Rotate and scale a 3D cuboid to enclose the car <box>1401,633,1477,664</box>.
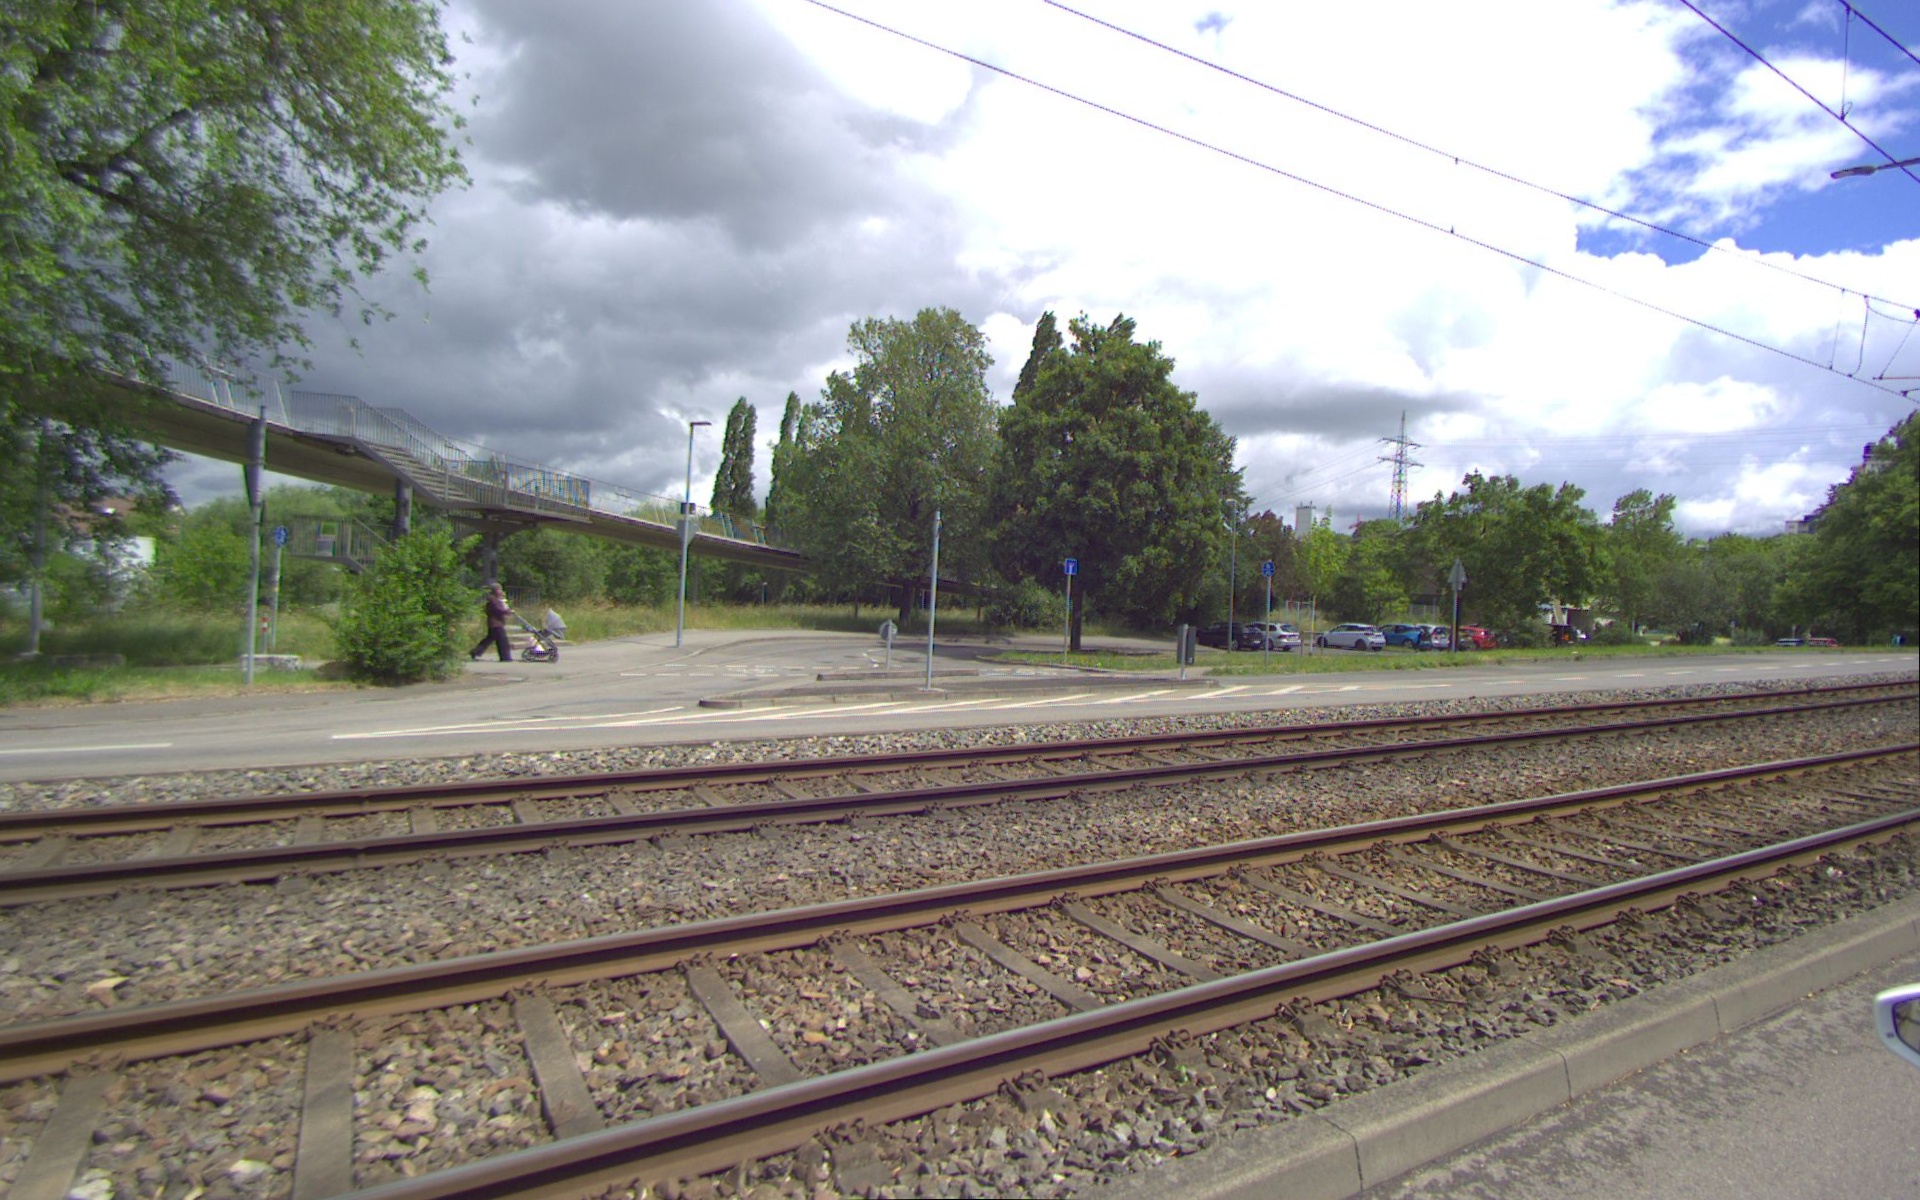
[{"bbox_3d":[30.227,3.035,63.501,1.970,1.601,3.939,0,2,-27],"label":"car"}]

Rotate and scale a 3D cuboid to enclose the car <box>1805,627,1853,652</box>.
[{"bbox_3d":[64.269,2.898,74.278,3.961,1.795,1.803,1,0,-36],"label":"car"}]

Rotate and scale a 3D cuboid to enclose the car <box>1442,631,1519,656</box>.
[{"bbox_3d":[34.032,2.822,65.803,1.970,1.269,4.066,0,2,-27],"label":"car"}]

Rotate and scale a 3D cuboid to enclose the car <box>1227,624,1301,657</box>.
[{"bbox_3d":[16.227,2.152,53.804,1.553,1.409,3.856,4,1,-25],"label":"car"}]

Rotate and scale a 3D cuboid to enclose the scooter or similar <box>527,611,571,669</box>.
[{"bbox_3d":[-8.851,0.853,21.617,0.778,1.162,0.708,3,1,-27],"label":"scooter or similar"}]

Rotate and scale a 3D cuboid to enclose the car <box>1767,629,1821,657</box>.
[{"bbox_3d":[58.170,2.985,70.039,3.956,1.795,1.806,1,0,-33],"label":"car"}]

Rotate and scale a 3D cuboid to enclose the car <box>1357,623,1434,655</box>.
[{"bbox_3d":[26.146,2.298,60.396,1.845,1.601,3.939,0,2,-27],"label":"car"}]

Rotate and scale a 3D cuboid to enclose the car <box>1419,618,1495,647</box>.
[{"bbox_3d":[31.977,2.064,64.695,1.970,1.601,3.939,0,2,-27],"label":"car"}]

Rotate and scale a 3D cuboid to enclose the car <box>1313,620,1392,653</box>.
[{"bbox_3d":[22.624,2.085,57.982,1.823,1.601,3.892,0,2,-33],"label":"car"}]

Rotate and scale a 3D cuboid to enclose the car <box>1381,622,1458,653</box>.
[{"bbox_3d":[28.157,2.275,61.663,1.968,1.601,3.939,0,2,-27],"label":"car"}]

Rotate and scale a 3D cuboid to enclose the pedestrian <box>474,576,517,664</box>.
[{"bbox_3d":[-9.782,0.411,21.162,0.709,1.779,0.658,3,1,-28],"label":"pedestrian"}]

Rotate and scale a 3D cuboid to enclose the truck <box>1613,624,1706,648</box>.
[{"bbox_3d":[82.960,4.206,119.399,8.966,2.731,2.608,-1,-1,34],"label":"truck"}]

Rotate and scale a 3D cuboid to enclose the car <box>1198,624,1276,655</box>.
[{"bbox_3d":[14.470,2.044,52.740,1.754,1.293,3.951,4,1,-25],"label":"car"}]
